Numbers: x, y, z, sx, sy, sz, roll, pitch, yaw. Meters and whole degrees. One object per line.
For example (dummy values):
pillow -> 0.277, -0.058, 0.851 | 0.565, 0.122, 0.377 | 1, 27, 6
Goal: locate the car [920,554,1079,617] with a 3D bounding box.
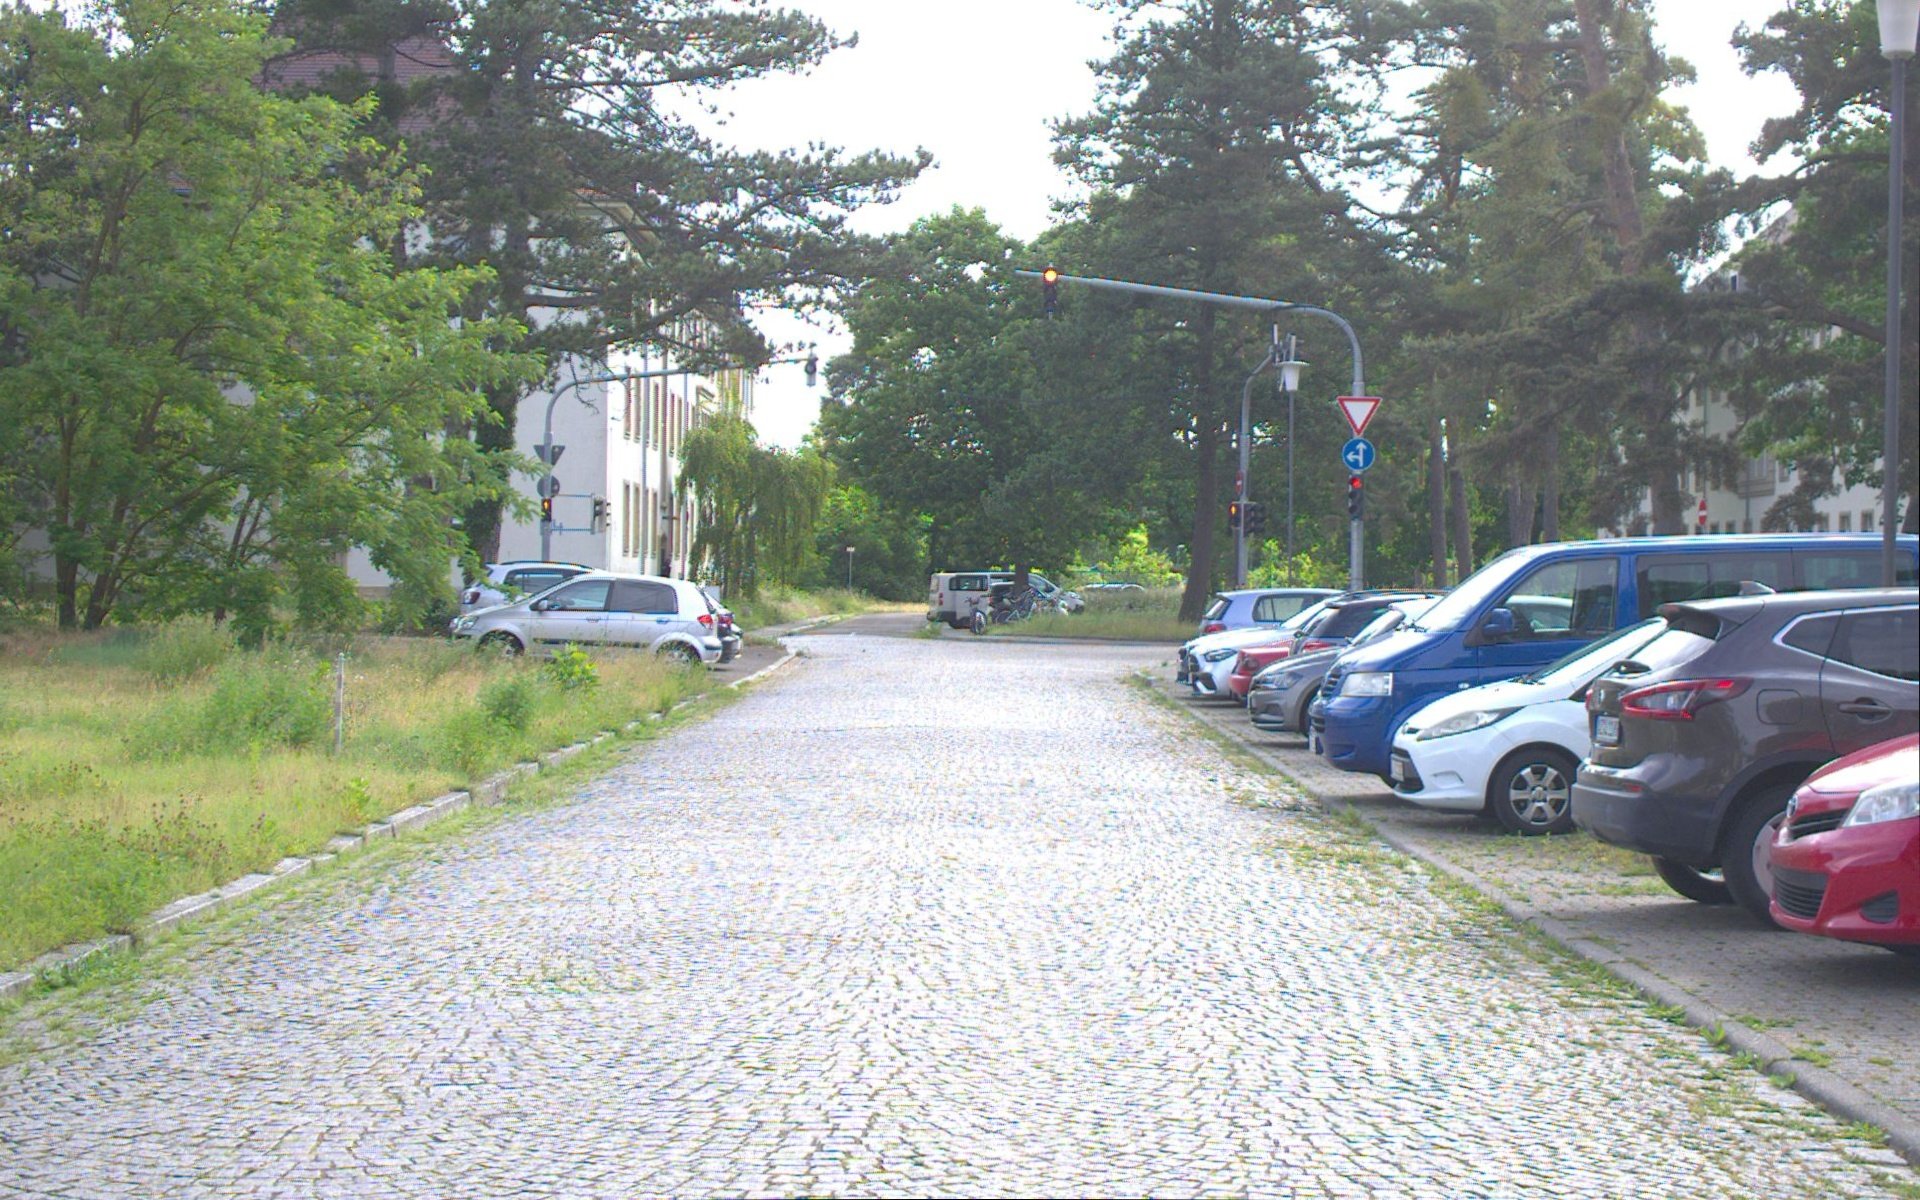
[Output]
car -> 1.335, -0.490, 116.127 | 5.049, 2.007, 2.001 | 1, 1, -10

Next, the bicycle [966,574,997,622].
bicycle -> 0.604, -0.062, 94.551 | 0.810, 1.264, 1.973 | 1, 1, 1

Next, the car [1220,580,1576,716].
car -> 5.274, 0.569, 41.670 | 3.986, 1.538, 1.664 | 1, 1, -5

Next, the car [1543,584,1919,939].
car -> 4.959, 0.756, 16.543 | 3.950, 1.575, 1.762 | 1, 1, -1

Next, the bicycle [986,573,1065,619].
bicycle -> 1.867, -0.108, 98.299 | 2.160, 1.264, 0.812 | 1, 0, -6

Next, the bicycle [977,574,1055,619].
bicycle -> 1.629, -0.113, 100.102 | 2.160, 1.264, 0.812 | 1, 0, -6

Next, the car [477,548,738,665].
car -> -5.552, 0.093, 54.081 | 3.986, 1.744, 1.927 | 1, 1, -7

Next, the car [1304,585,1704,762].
car -> 4.863, 0.642, 31.012 | 3.292, 1.499, 1.664 | 1, 1, -2

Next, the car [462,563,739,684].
car -> -5.330, 0.335, 51.064 | 3.986, 1.700, 2.000 | 1, 1, -6

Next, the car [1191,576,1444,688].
car -> 5.105, 0.449, 49.290 | 3.388, 1.538, 1.391 | 1, 1, -5

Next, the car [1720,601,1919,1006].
car -> 5.273, 0.801, 13.918 | 3.987, 1.513, 1.738 | 1, 1, 0

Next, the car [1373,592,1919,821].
car -> 4.749, 0.683, 22.996 | 3.722, 1.419, 1.655 | 0, 1, -2

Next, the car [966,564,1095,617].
car -> 2.292, -0.329, 112.841 | 3.986, 1.638, 2.000 | 1, 1, -6

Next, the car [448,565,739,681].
car -> -5.167, 0.313, 48.574 | 3.986, 1.546, 2.000 | 1, 1, -6

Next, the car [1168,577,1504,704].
car -> 4.771, 0.504, 43.899 | 3.986, 1.538, 1.664 | 1, 1, -5

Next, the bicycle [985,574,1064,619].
bicycle -> 1.864, -0.107, 98.886 | 2.160, 1.264, 0.812 | 1, 0, -6

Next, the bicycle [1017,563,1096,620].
bicycle -> 2.799, -0.246, 99.587 | 2.160, 1.610, 0.812 | 1, 0, -6

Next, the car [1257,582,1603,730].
car -> 5.006, 0.591, 36.803 | 3.291, 1.499, 1.664 | 1, 1, -10

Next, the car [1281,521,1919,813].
car -> 4.884, 0.474, 25.448 | 4.782, 2.033, 1.738 | 1, 1, -2

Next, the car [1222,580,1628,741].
car -> 4.545, 0.587, 33.836 | 3.597, 1.501, 1.664 | 1, 1, -10

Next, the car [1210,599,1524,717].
car -> 4.637, 0.651, 39.437 | 3.291, 1.263, 1.664 | 1, 1, -5

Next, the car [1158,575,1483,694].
car -> 4.872, 0.460, 46.722 | 4.122, 1.538, 1.664 | 1, 1, -5
